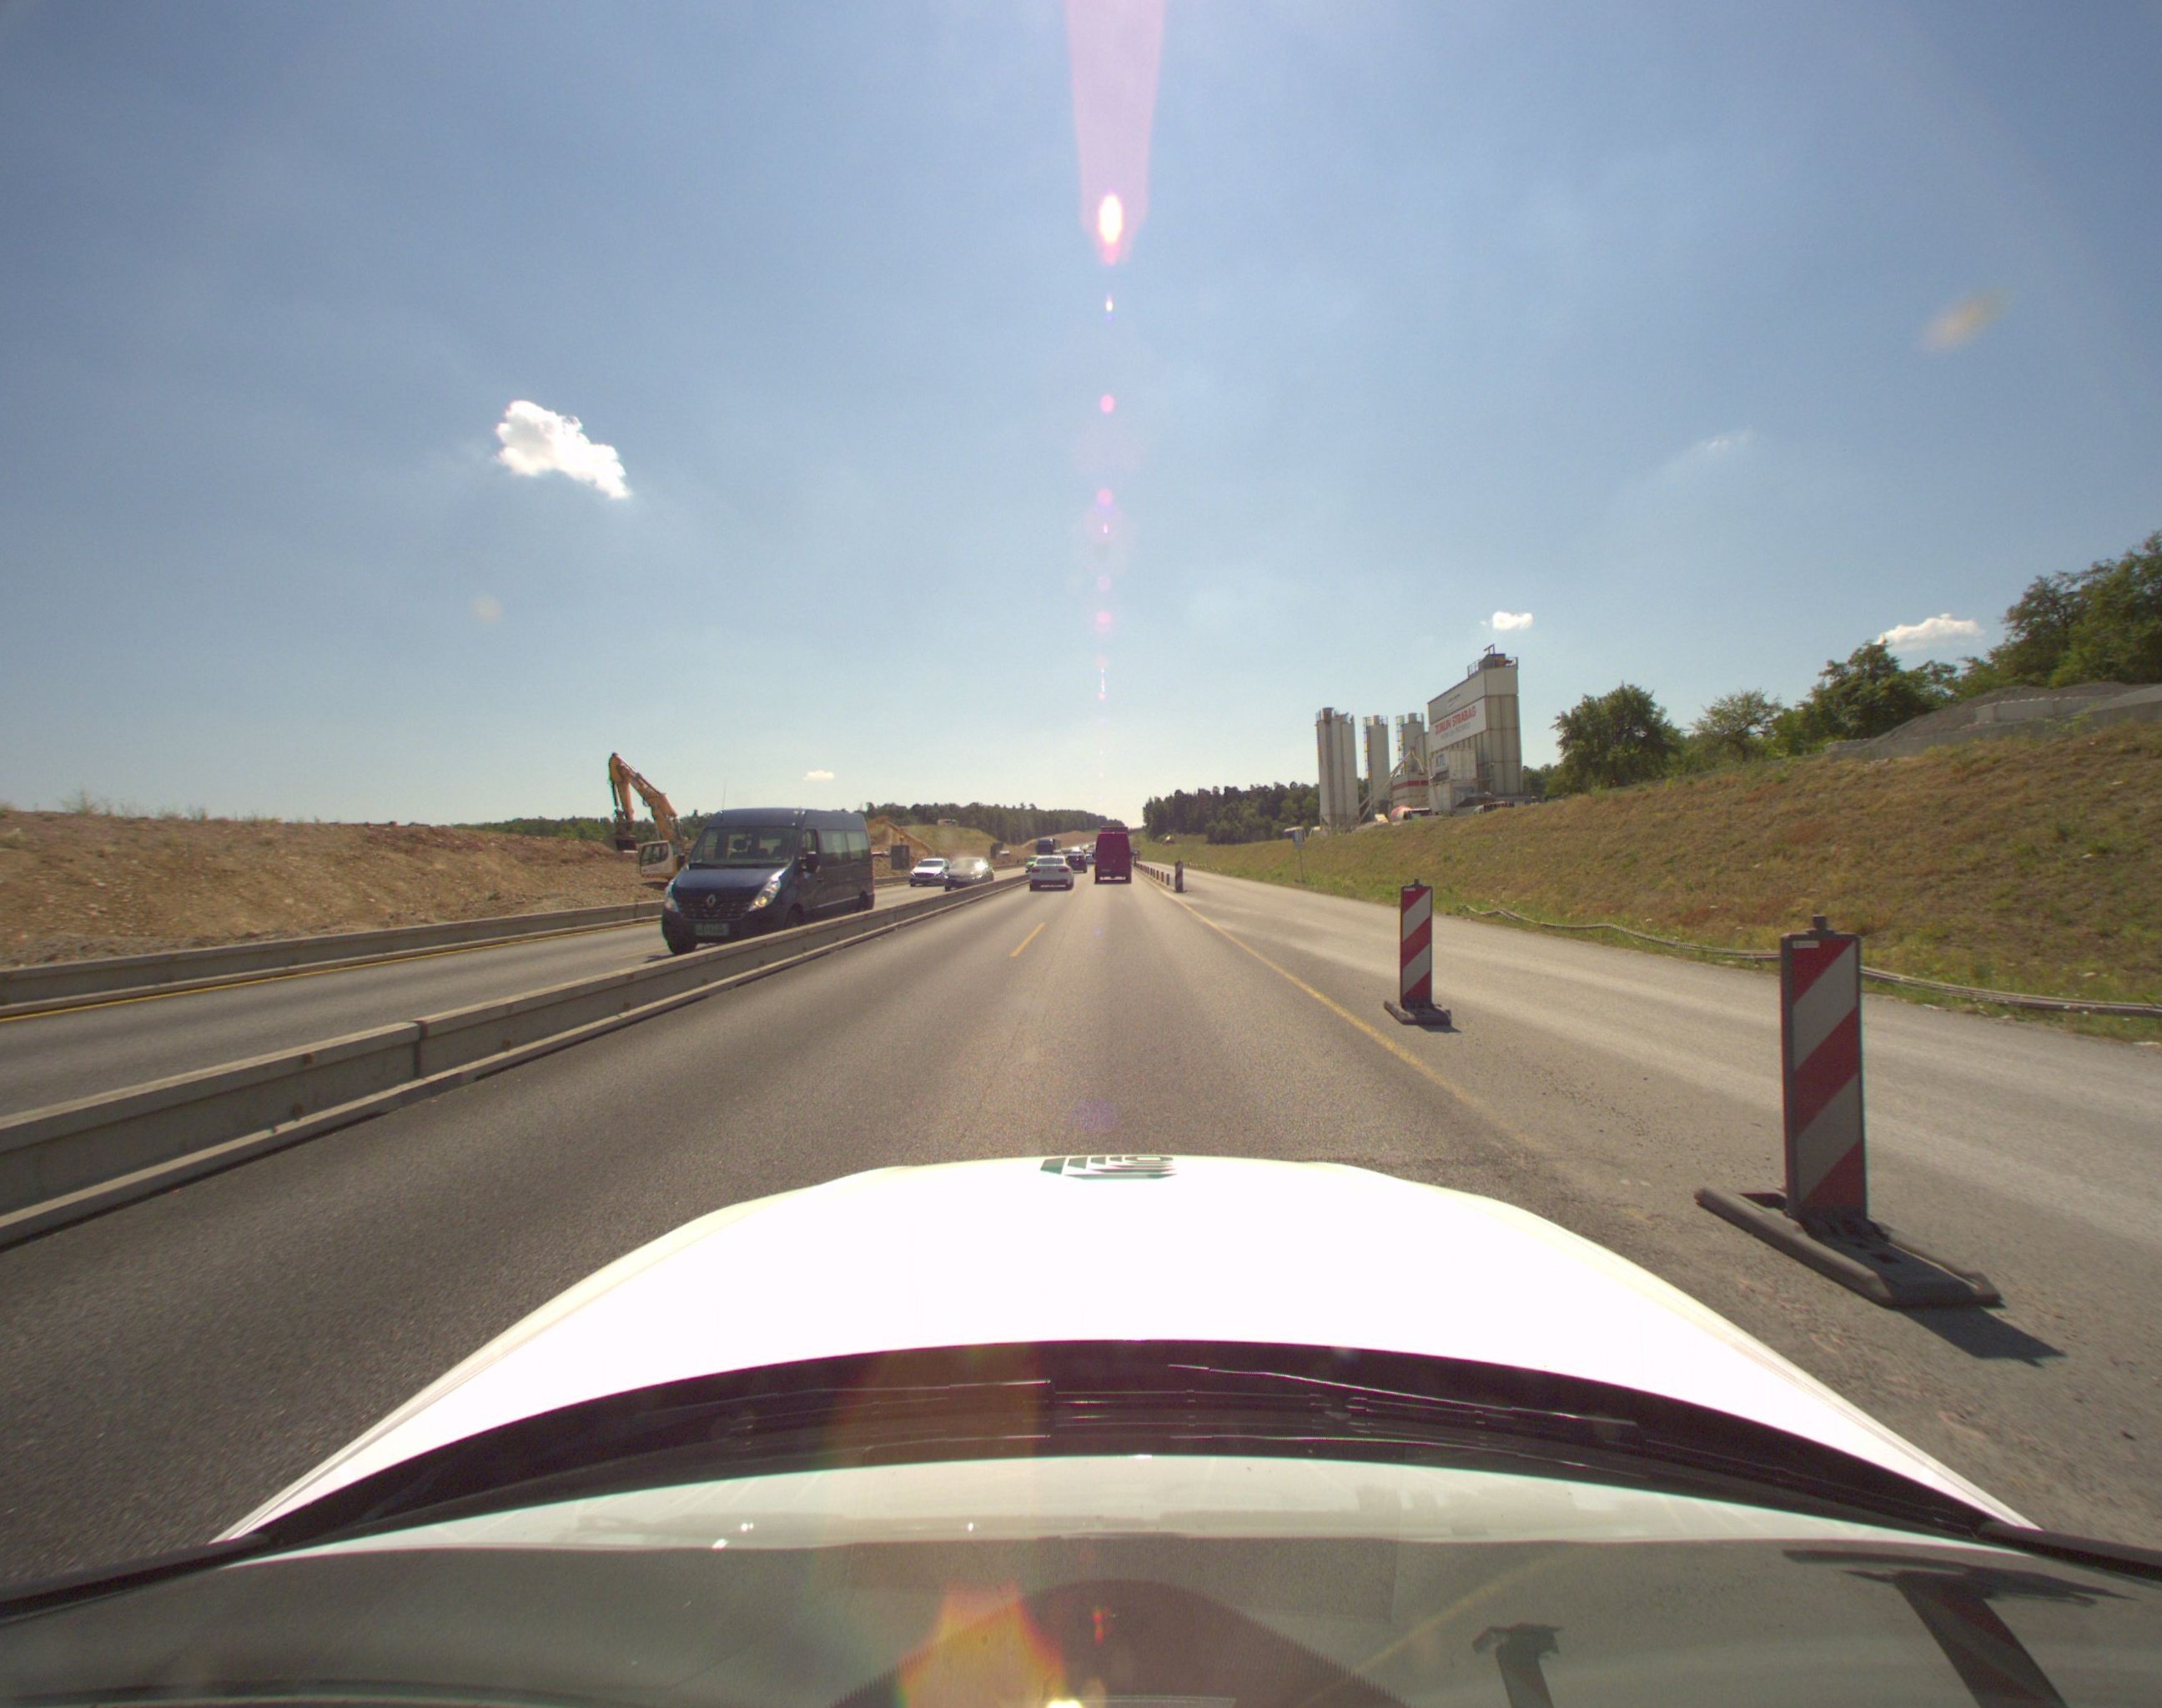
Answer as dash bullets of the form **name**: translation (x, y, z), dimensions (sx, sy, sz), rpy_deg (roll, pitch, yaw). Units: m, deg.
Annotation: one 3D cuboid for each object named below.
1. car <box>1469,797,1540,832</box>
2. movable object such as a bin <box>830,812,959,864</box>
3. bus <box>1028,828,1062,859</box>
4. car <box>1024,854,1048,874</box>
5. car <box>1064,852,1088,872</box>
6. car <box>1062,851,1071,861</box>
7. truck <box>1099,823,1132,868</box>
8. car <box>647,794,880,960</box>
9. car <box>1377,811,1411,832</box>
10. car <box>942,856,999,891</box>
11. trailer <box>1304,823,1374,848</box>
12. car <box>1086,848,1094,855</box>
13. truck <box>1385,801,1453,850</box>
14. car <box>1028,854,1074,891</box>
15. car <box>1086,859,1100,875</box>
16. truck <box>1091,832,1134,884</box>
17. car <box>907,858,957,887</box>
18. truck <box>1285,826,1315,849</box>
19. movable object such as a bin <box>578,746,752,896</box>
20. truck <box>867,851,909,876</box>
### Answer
- **car**: translation (27.917, -2.557, 53.887), dimensions (2.214, 2.013, 4.995), rpy_deg (-2, 0, 2)
- **movable object such as a bin**: translation (-28.299, -2.411, 124.252), dimensions (18.650, 7.231, 3.615), rpy_deg (-2, 0, 0)
- **bus**: translation (-5.395, -1.495, 127.000), dimensions (3.928, 4.415, 17.205), rpy_deg (-2, 0, 1)
- **car**: translation (-3.766, 0.807, 68.456), dimensions (1.596, 1.580, 4.170), rpy_deg (-2, 0, 2)
- **car**: translation (-0.405, 0.657, 67.223), dimensions (1.788, 1.534, 3.933), rpy_deg (-2, 0, 2)
- **car**: translation (-3.095, 0.481, 177.651), dimensions (1.757, 2.013, 3.829), rpy_deg (-2, 0, 2)
- **truck**: translation (3.511, -0.777, 81.148), dimensions (3.003, 4.153, 8.278), rpy_deg (-2, 0, 3)
- **car**: translation (-5.496, 0.346, 15.068), dimensions (1.948, 2.468, 5.360), rpy_deg (-2, 0, 2)
- **car**: translation (33.087, -3.407, 86.203), dimensions (1.986, 2.013, 4.430), rpy_deg (-2, 0, 2)
- **car**: translation (-5.015, 0.849, 37.533), dimensions (1.779, 1.476, 4.527), rpy_deg (-1, 0, 2)
- **trailer**: translation (36.401, -2.556, 115.084), dimensions (9.005, 3.229, 3.317), rpy_deg (-2, 0, -13)
- **car**: translation (2.616, -0.671, 231.057), dimensions (1.986, 1.904, 4.002), rpy_deg (-2, 0, 2)
- **truck**: translation (31.940, -2.537, 77.428), dimensions (3.416, 4.296, 9.949), rpy_deg (-2, 0, 8)
- **car**: translation (-1.269, 0.779, 36.857), dimensions (1.789, 1.534, 5.074), rpy_deg (-1, 0, 1)
- **car**: translation (1.604, 1.679, 108.809), dimensions (1.757, 2.013, 3.829), rpy_deg (-2, 0, 2)
- **truck**: translation (1.818, 0.218, 45.258), dimensions (2.103, 2.633, 6.490), rpy_deg (-2, 0, 3)
- **car**: translation (-7.859, 0.936, 43.397), dimensions (1.684, 1.433, 4.451), rpy_deg (-1, 0, 2)
- **truck**: translation (30.662, -2.270, 113.747), dimensions (2.869, 3.113, 6.048), rpy_deg (-2, 0, 26)
- **movable object such as a bin**: translation (-22.803, -1.730, 44.916), dimensions (7.604, 7.713, 3.449), rpy_deg (-2, 0, 3)
- **truck**: translation (-21.223, 0.991, 89.971), dimensions (2.307, 2.617, 8.415), rpy_deg (-2, 0, 2)
